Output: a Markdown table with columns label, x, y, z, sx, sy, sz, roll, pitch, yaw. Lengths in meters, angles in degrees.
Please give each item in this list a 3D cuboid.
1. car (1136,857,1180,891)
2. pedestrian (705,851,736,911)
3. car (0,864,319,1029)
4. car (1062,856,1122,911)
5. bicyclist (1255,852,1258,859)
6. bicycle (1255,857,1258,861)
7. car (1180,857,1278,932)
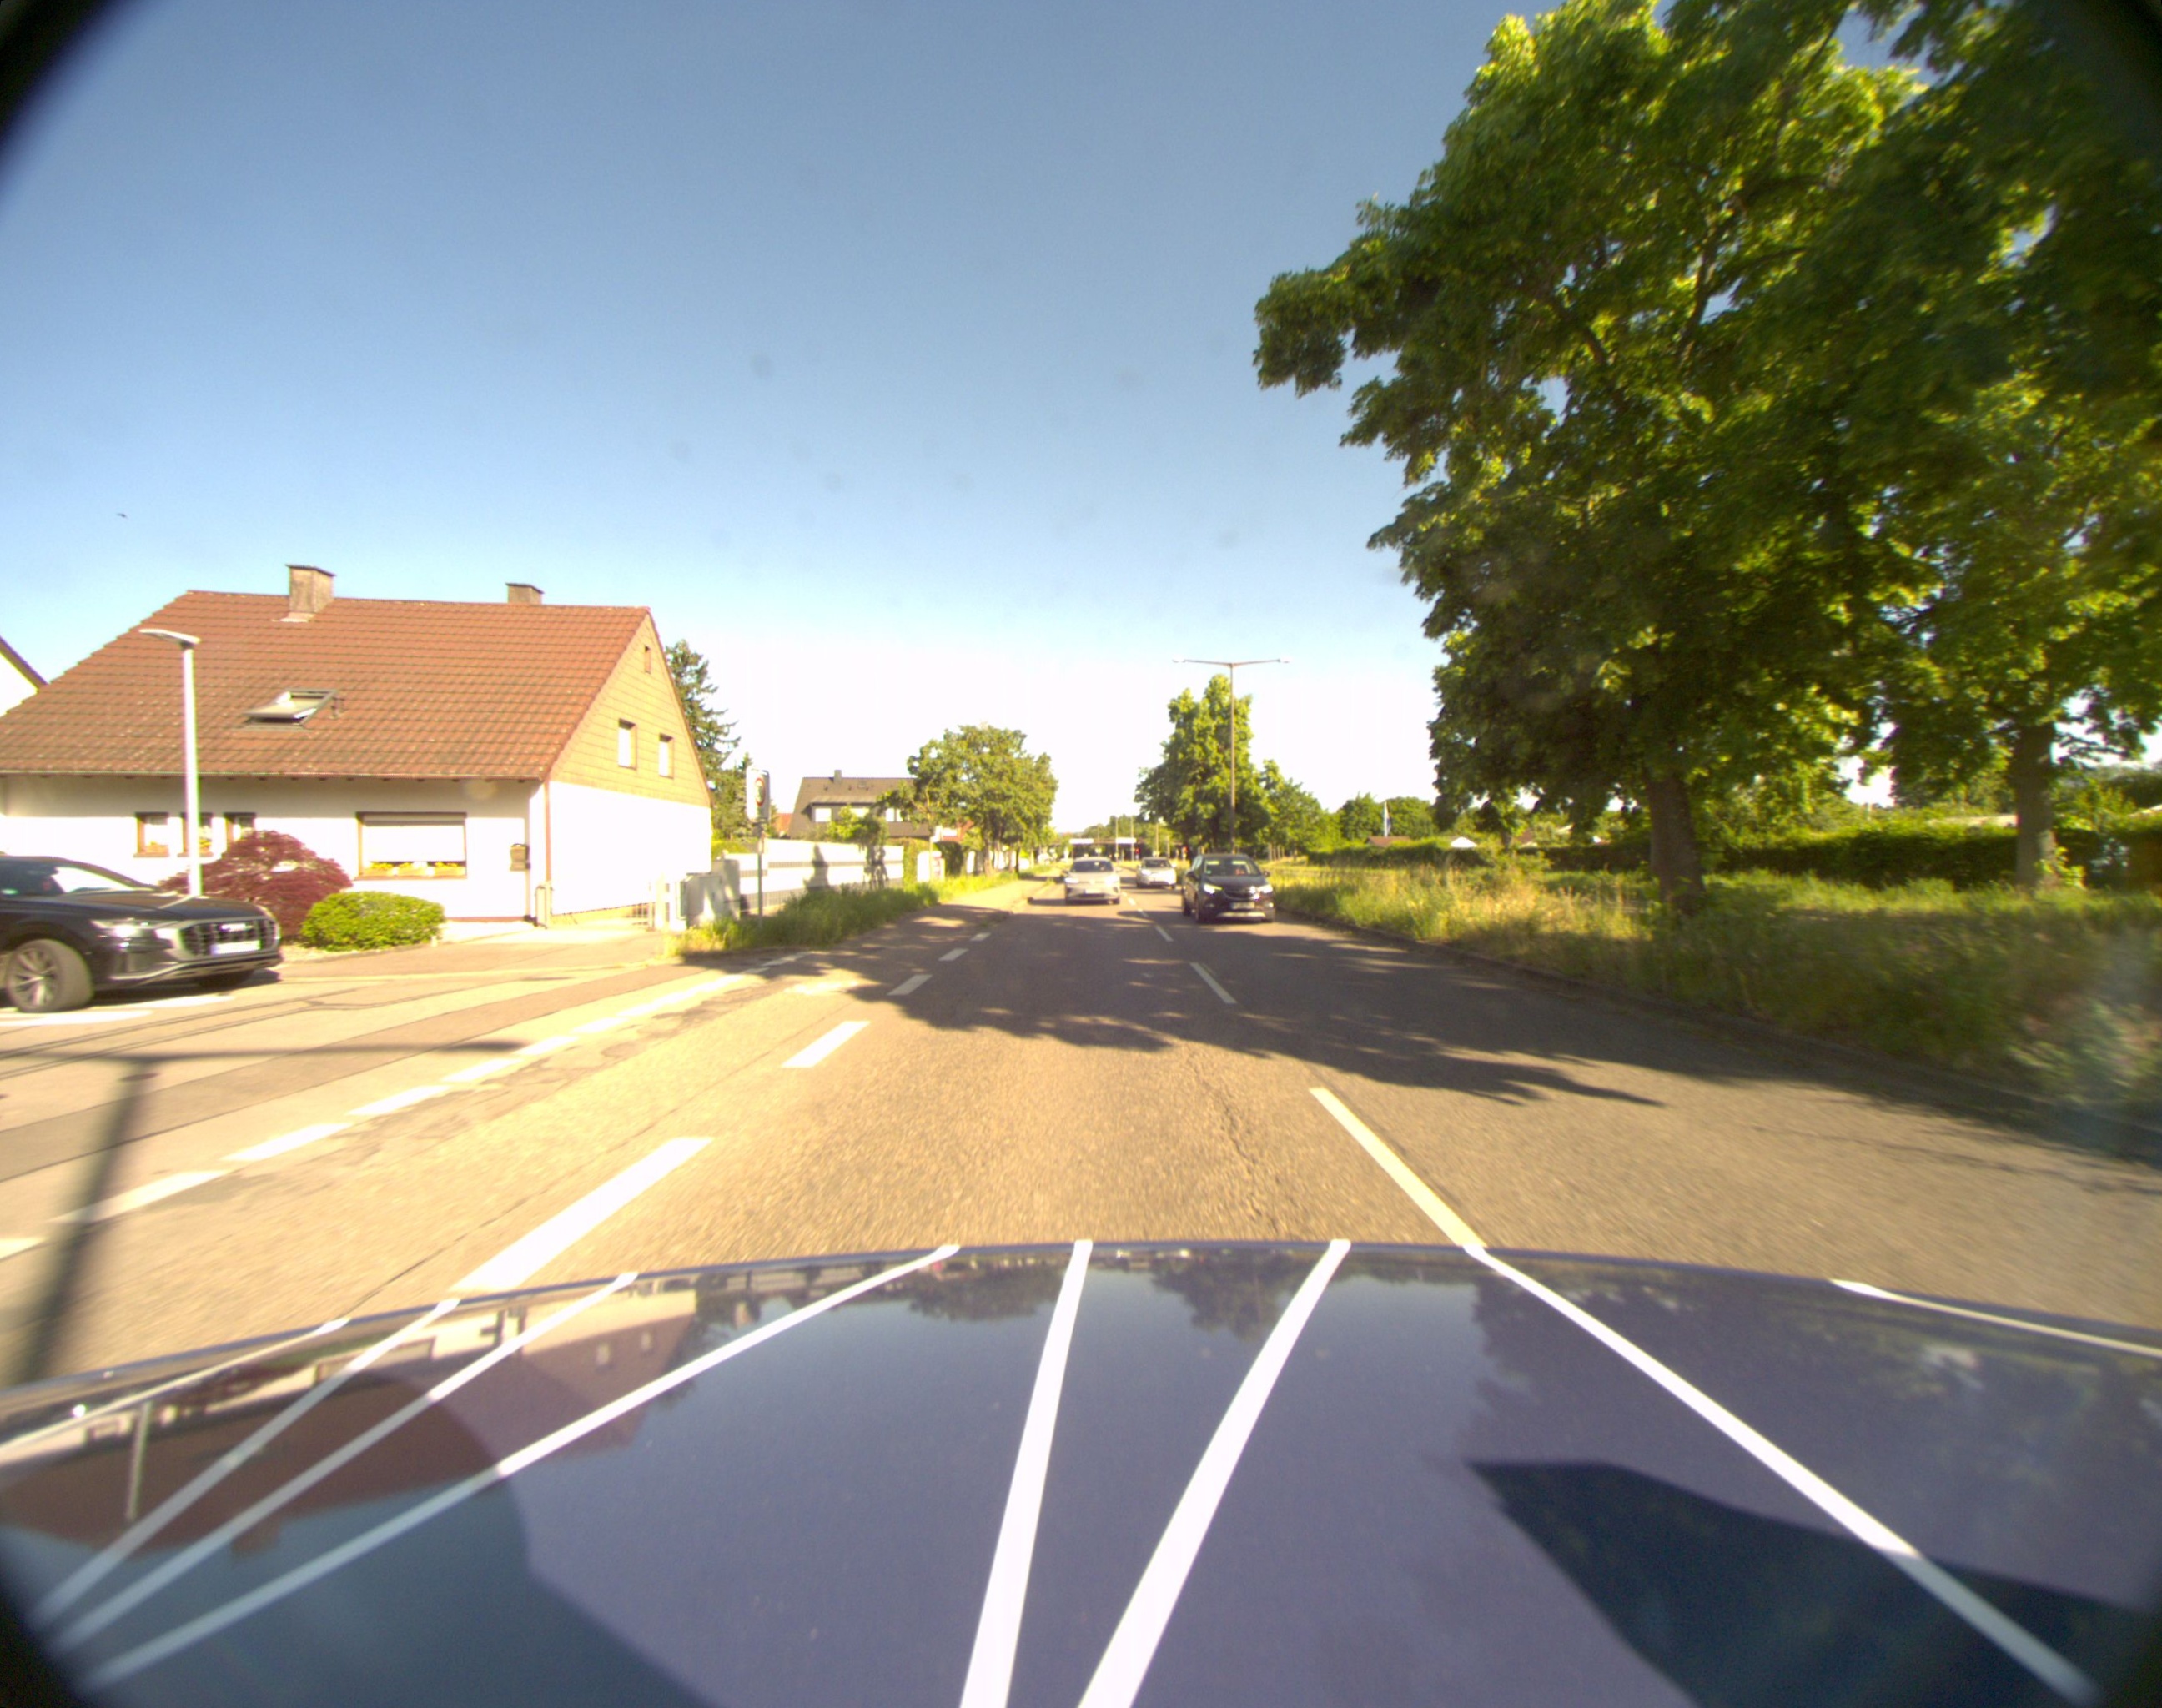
| label | x | y | z | sx | sy | sz | roll | pitch | yaw |
| --- | --- | --- | --- | --- | --- | --- | --- | --- | --- |
| car | 3.884 | 0.972 | 38.937 | 1.830 | 1.604 | 4.092 | -1 | 0 | 1 |
| pedestrian | -10.367 | 0.770 | 21.865 | 0.630 | 1.698 | 0.613 | -1 | 1 | -13 |
| car | -12.136 | 0.955 | 8.560 | 4.756 | 1.647 | 2.070 | 0 | 0 | -6 |
| car | 0.392 | 0.906 | 25.476 | 1.801 | 1.664 | 4.240 | -1 | 0 | 1 |
| bicyclist | 31.959 | 0.344 | 138.412 | 0.584 | 1.249 | 0.576 | -1 | 1 | 14 |
| bicycle | 31.986 | 0.866 | 138.456 | 0.566 | 0.691 | 1.877 | -1 | 0 | 14 |
| car | 3.528 | 0.898 | 18.748 | 1.714 | 1.653 | 3.856 | 0 | 0 | 1 |
